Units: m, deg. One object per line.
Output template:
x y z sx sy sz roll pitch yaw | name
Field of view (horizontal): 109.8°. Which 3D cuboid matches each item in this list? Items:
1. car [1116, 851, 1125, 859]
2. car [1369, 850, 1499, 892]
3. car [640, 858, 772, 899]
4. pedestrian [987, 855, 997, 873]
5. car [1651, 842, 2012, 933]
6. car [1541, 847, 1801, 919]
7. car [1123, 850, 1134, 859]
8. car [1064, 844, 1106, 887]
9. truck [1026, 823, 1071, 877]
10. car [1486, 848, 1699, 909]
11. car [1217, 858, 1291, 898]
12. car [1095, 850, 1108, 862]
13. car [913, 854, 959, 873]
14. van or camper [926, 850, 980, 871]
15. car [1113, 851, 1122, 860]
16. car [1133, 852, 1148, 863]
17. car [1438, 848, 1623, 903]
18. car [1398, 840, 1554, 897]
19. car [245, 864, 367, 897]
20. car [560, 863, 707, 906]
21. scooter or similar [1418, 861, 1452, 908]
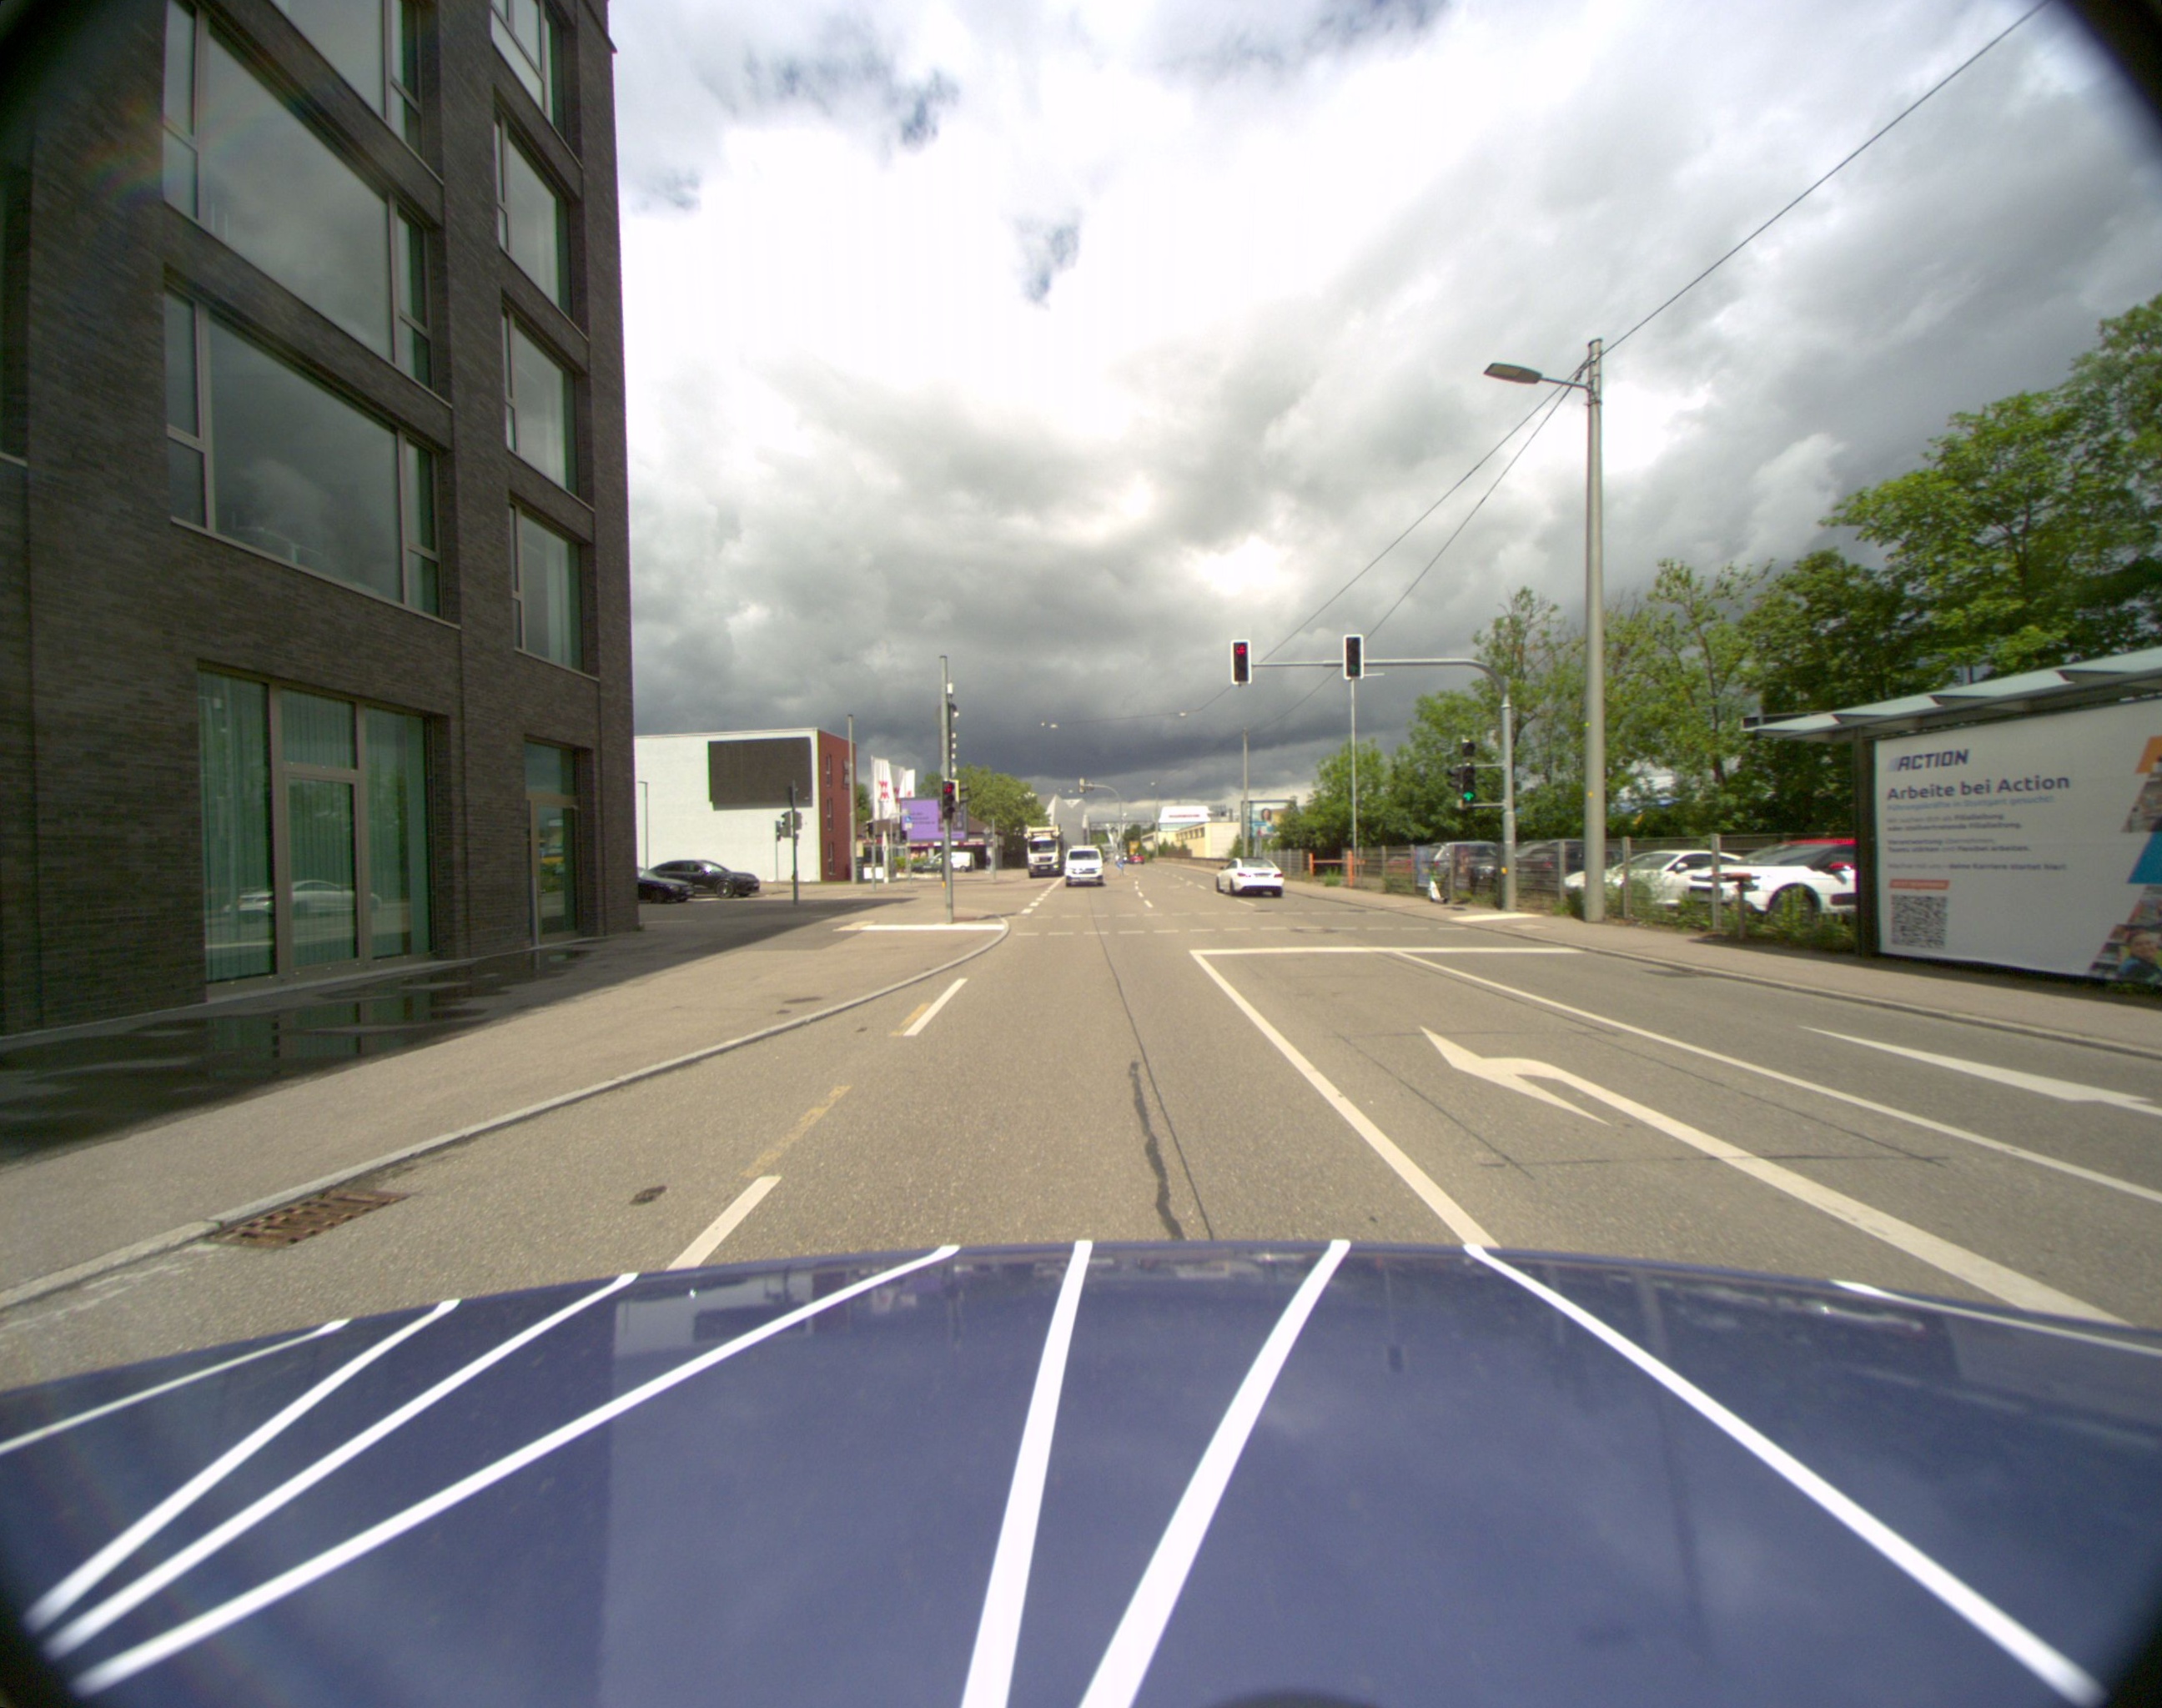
8.377 0.169 160.980 1.861 1.608 4.000 -2 0 1 | car
12.803 0.579 27.678 3.864 1.410 1.901 -1 0 -8 | car
-16.047 1.030 32.695 4.651 1.609 2.000 -1 0 0 | car
-8.714 0.946 74.220 0.714 1.697 0.739 4 2 1 | pedestrian
12.981 0.548 13.393 4.321 1.410 2.025 -1 0 2 | car
12.597 0.591 16.435 4.113 1.410 1.916 -1 0 1 | car
8.835 0.141 141.079 1.861 1.608 4.000 -2 0 1 | car
0.255 0.554 39.010 1.935 2.078 4.208 -1 0 3 | car
-2.419 -0.374 60.072 2.836 3.889 10.365 -1 1 2 | truck
12.932 0.587 19.394 4.114 1.410 1.999 -1 0 -3 | car
6.365 0.834 28.374 1.801 1.368 4.224 0 0 0 | car
3.056 0.341 114.754 1.870 1.782 4.207 -1 0 0 | car
-12.982 0.816 68.046 3.675 1.477 1.762 3 1 3 | car
-12.753 0.611 76.048 4.909 1.946 2.212 1 1 1 | van or camper
8.733 0.409 181.747 1.896 2.002 5.650 -2 0 1 | car
8.514 0.482 109.108 1.935 1.590 4.153 1 0 1 | car
12.779 0.588 21.803 4.113 1.410 2.000 -1 0 -1 | car
12.860 0.449 24.898 4.114 1.724 1.999 -1 0 -4 | car
-40.966 1.385 40.250 4.311 1.560 1.870 -1 0 -5 | car
-17.405 1.174 29.698 4.535 1.484 2.000 -1 1 1 | car
9.659 0.823 20.741 0.424 1.203 1.126 -3 0 5 | scooter or similar
